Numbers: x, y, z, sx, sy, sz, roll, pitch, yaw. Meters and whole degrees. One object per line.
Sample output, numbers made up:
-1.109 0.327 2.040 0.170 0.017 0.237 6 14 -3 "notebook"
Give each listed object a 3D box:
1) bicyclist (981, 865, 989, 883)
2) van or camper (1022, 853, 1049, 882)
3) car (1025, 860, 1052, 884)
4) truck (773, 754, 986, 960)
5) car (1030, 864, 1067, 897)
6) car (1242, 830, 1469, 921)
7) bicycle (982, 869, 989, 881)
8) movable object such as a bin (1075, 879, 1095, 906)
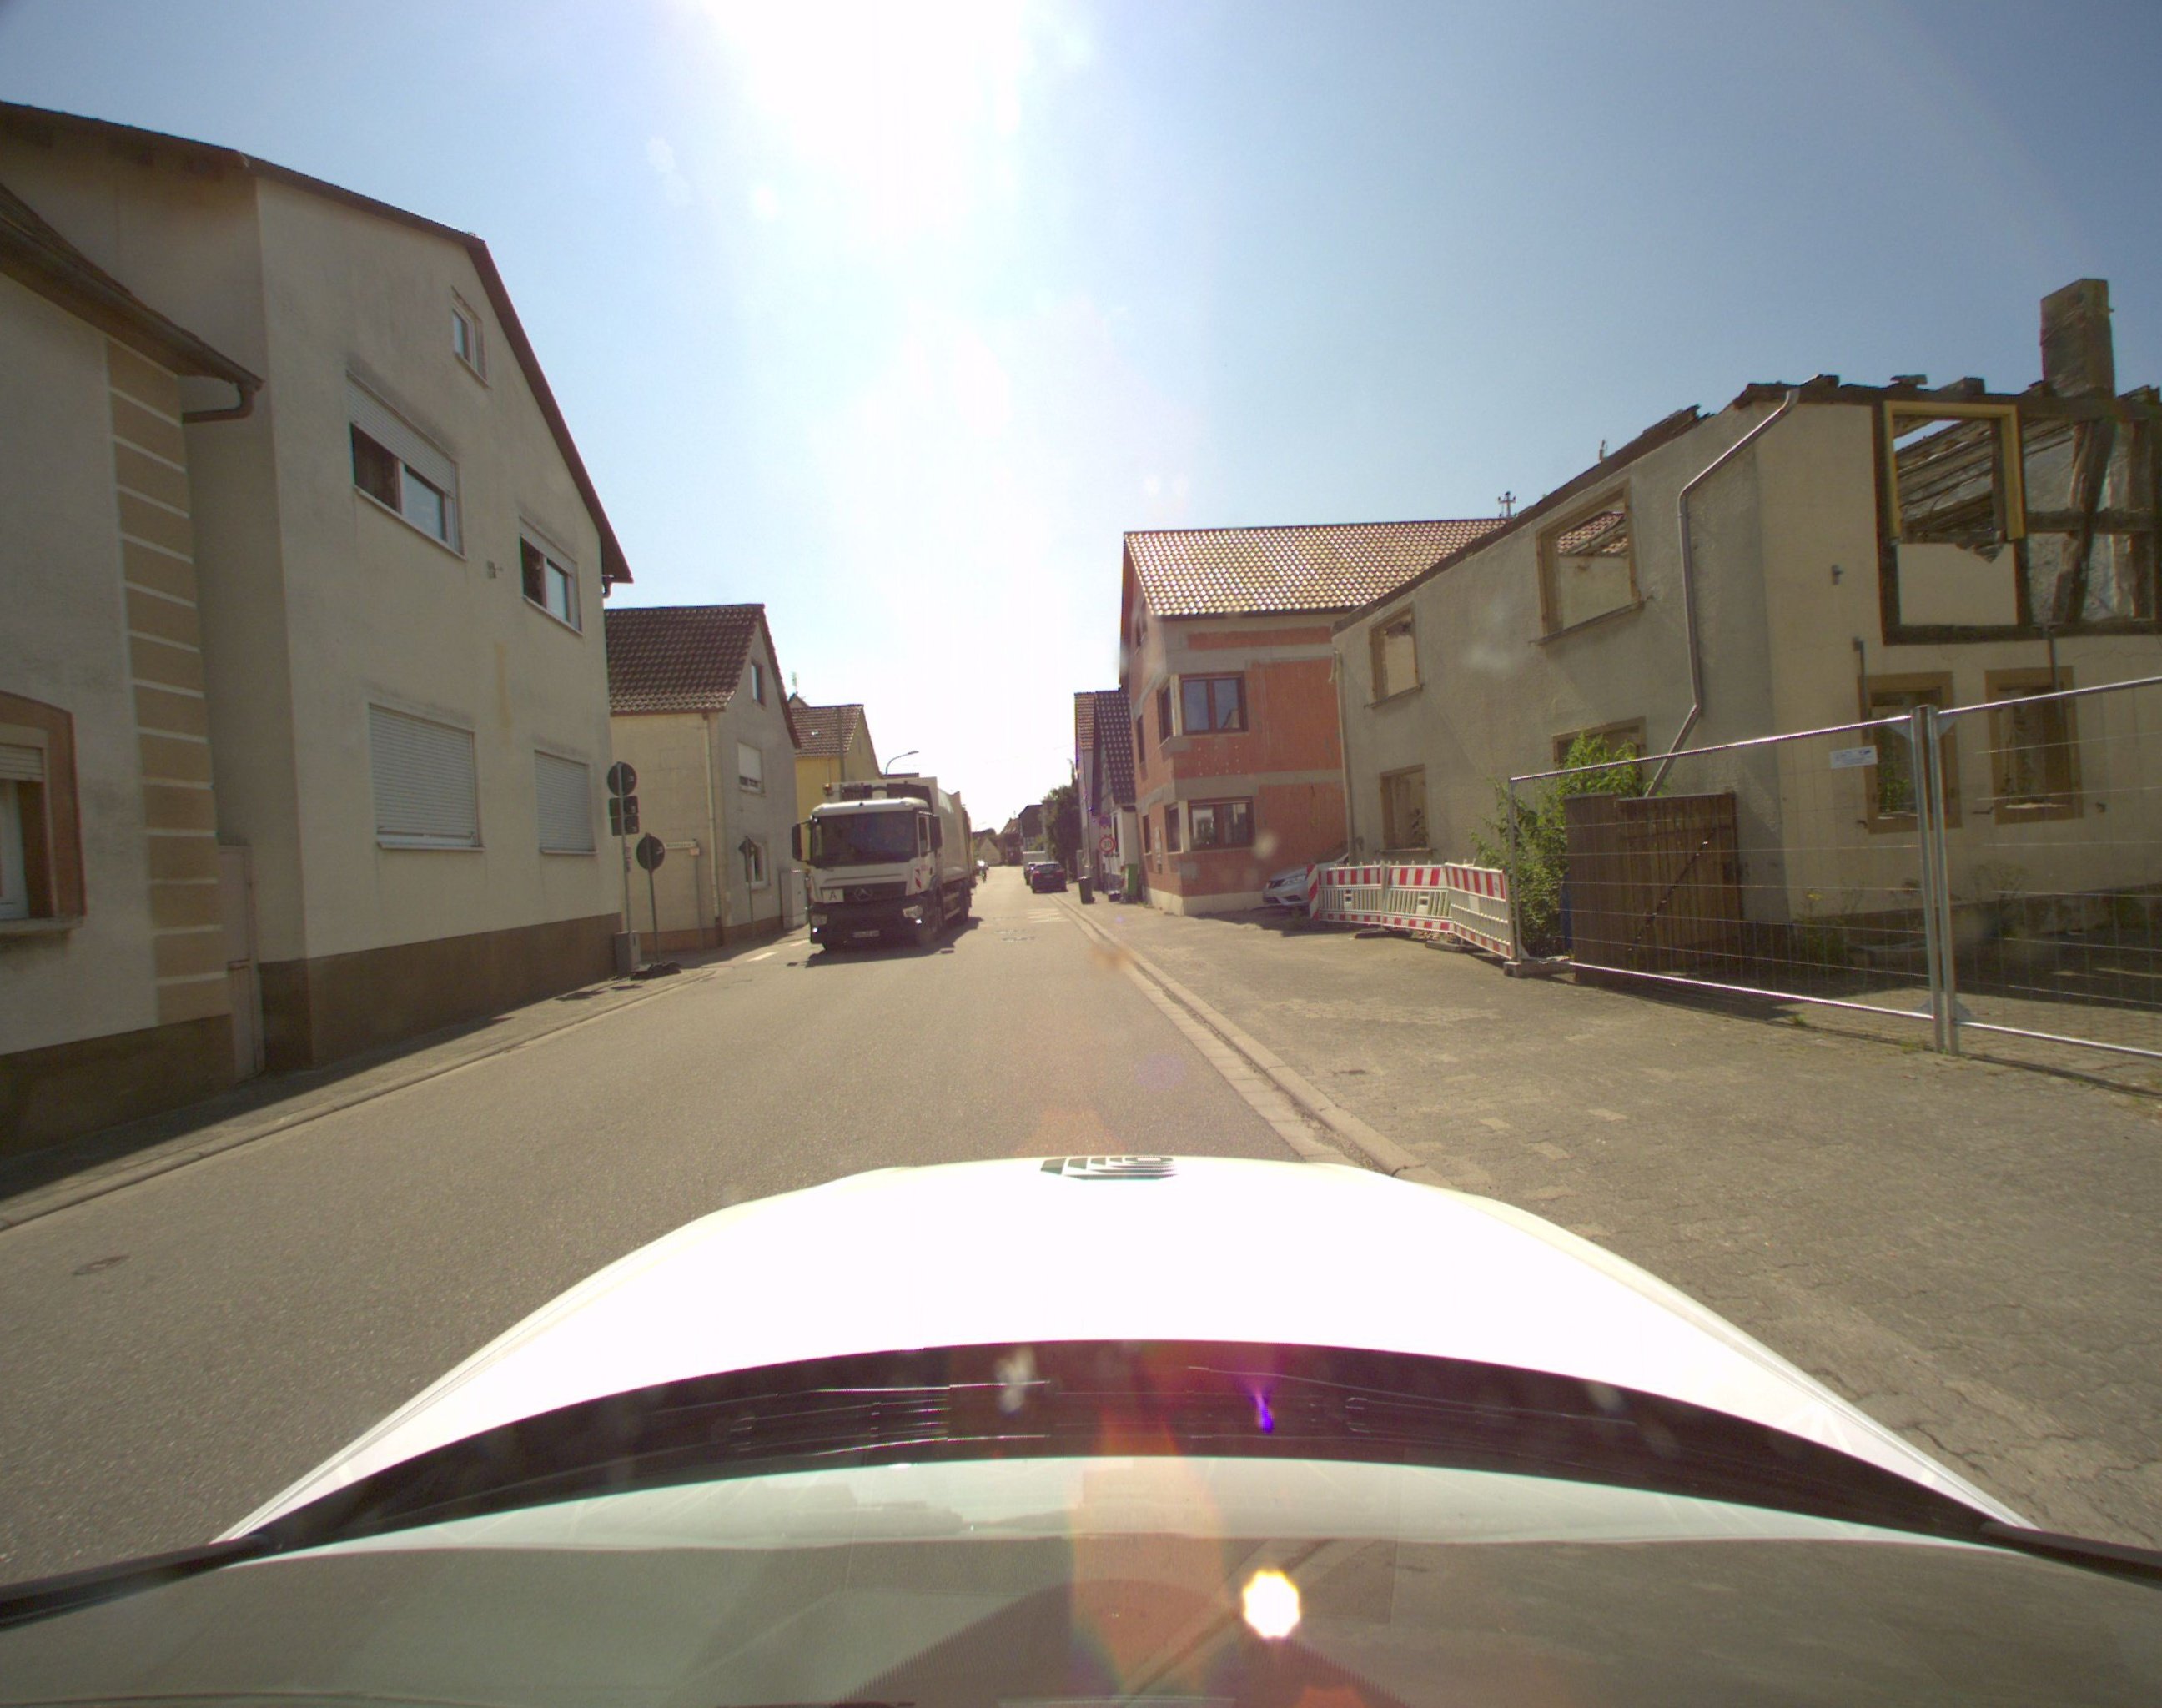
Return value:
-9.463 1.993 80.292 0.703 1.771 0.623 -4 -1 -8 "bicyclist"
-4.763 1.405 84.253 2.518 2.697 4.546 -4 -1 -5 "van or camper"
-3.103 1.302 60.168 1.788 1.631 4.359 -4 0 -1 "car"
-4.481 0.105 20.967 2.688 3.750 10.864 -4 -1 -1 "truck"
-1.797 1.380 43.991 1.794 1.560 4.625 -4 -1 -4 "car"
5.709 0.434 17.184 4.089 1.507 1.864 -4 -1 -10 "car"
-9.410 2.082 80.167 0.589 1.148 1.943 -4 0 -8 "bicycle"
0.136 1.373 28.967 0.534 0.913 0.553 -4 -1 13 "movable object such as a bin"
